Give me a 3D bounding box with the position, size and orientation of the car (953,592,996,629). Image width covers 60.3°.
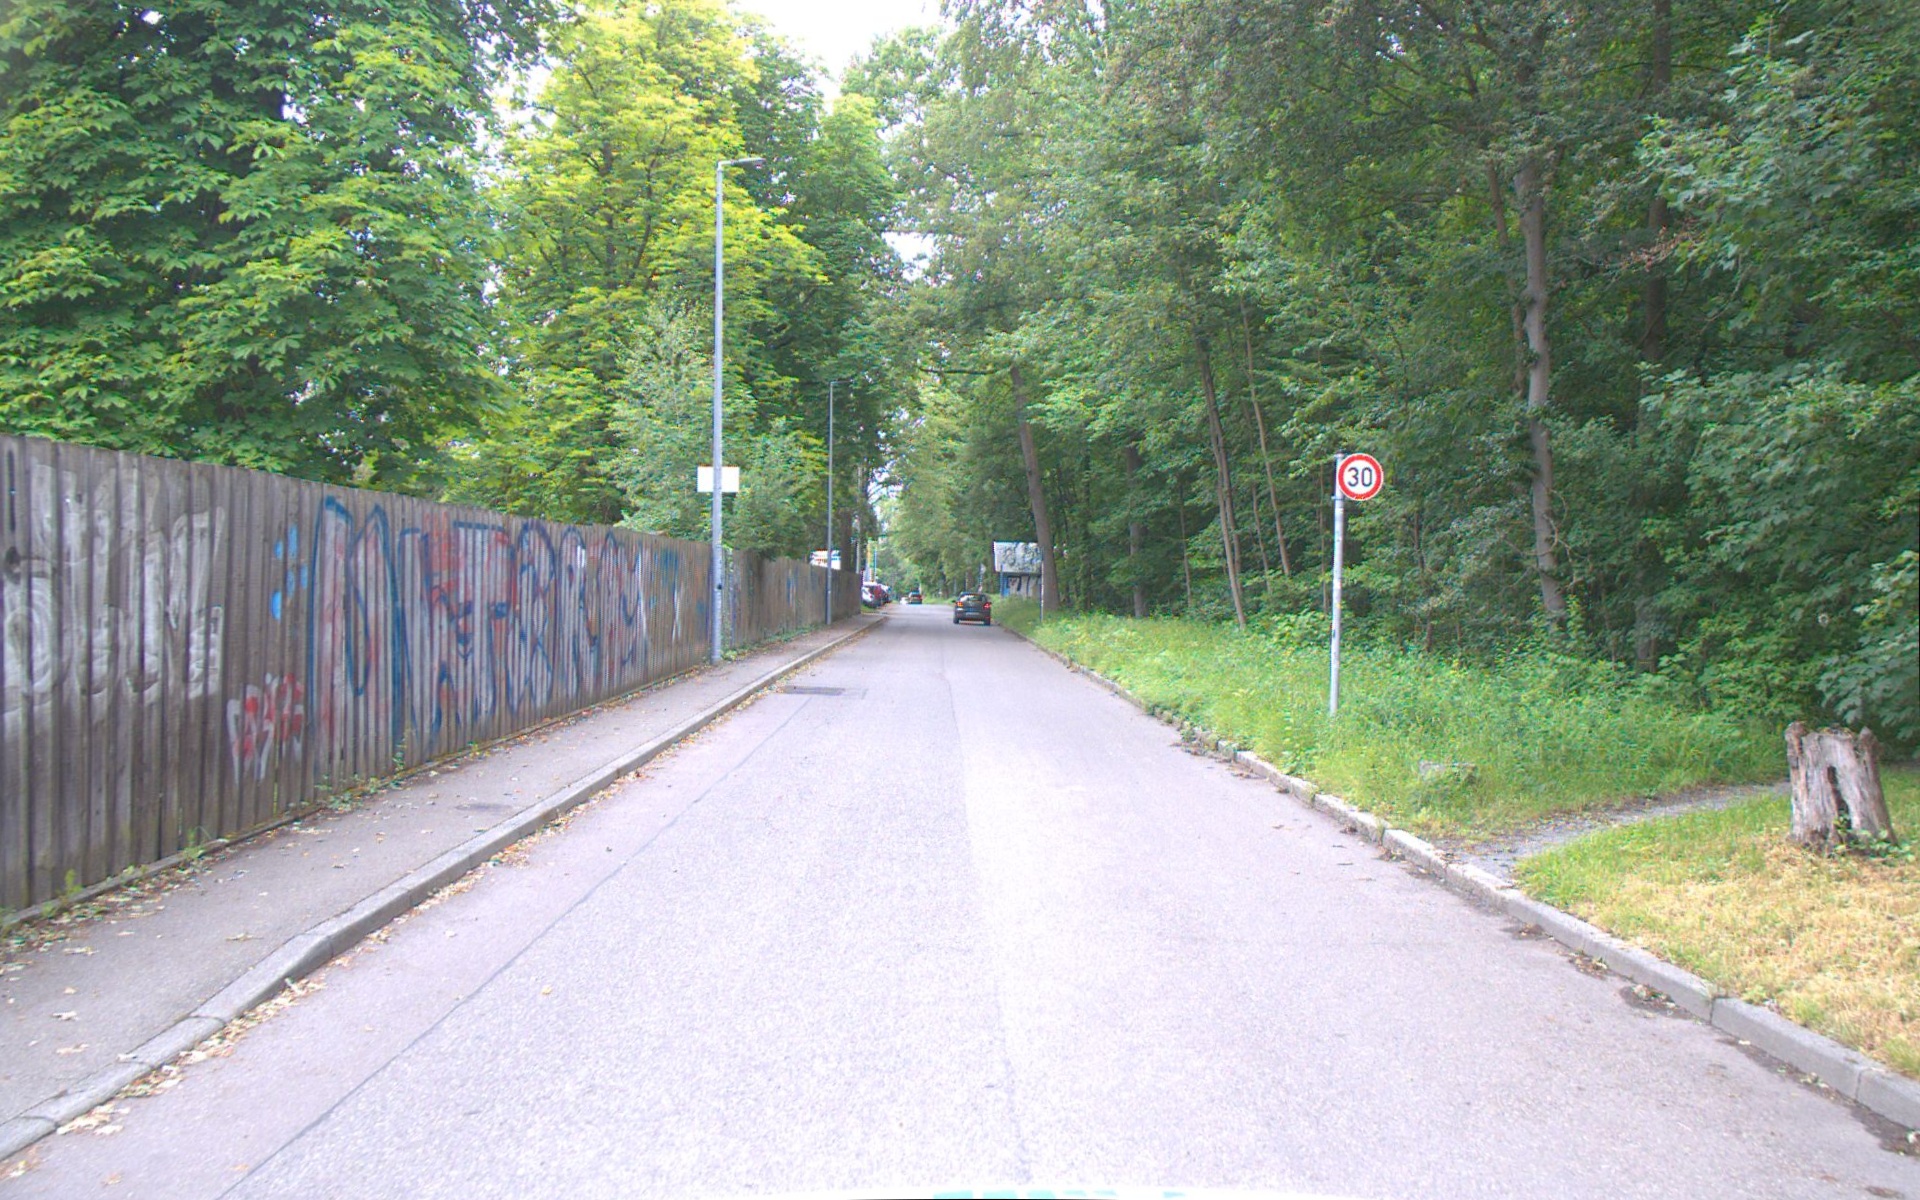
[{"bbox_3d":[0.664,0.481,76.056,1.869,1.534,4.000,3,0,0],"label":"car"}]

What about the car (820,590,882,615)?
[{"bbox_3d":[-7.001,0.144,105.948,3.909,1.601,1.998,0,0,-5],"label":"car"}]

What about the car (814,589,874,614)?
[{"bbox_3d":[-7.607,0.110,108.265,3.909,1.601,1.998,0,0,-5],"label":"car"}]

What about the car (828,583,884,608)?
[{"bbox_3d":[-7.479,-0.341,118.644,3.909,1.780,1.998,0,0,-5],"label":"car"}]

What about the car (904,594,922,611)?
[{"bbox_3d":[-5.994,0.304,211.843,1.955,2.049,3.994,0,0,-6],"label":"car"}]
